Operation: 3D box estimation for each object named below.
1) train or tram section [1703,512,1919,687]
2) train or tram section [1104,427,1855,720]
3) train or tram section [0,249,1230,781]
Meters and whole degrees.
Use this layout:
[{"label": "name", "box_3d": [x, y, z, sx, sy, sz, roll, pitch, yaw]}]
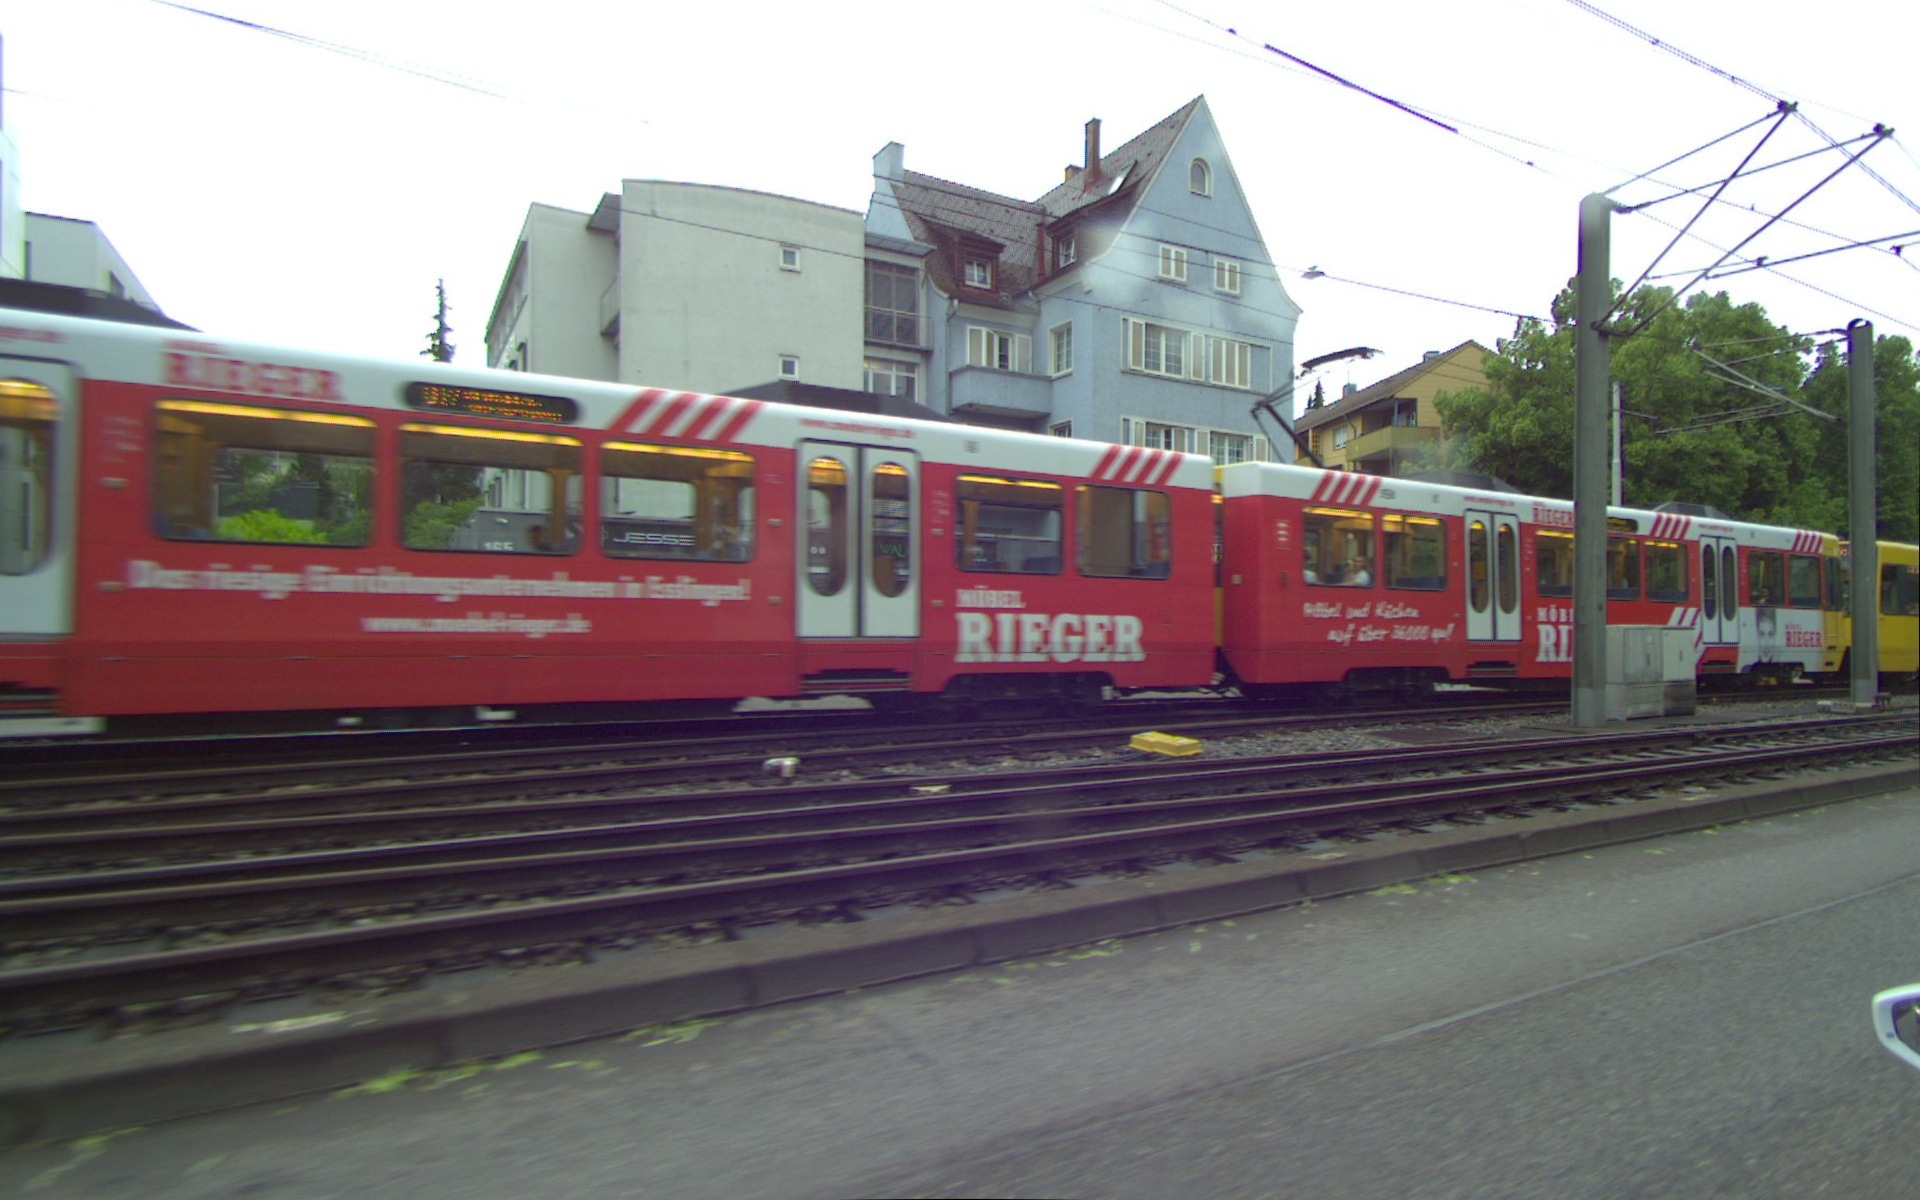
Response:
[{"label": "train or tram section", "box_3d": [27.320, 0.171, 28.104, 18.864, 3.861, 2.955, 1, -1, -29]}, {"label": "train or tram section", "box_3d": [11.013, -0.181, 18.996, 18.386, 3.861, 2.955, 1, -1, -29]}, {"label": "train or tram section", "box_3d": [-5.214, -0.560, 9.957, 18.386, 3.861, 2.955, 1, -1, -29]}]
